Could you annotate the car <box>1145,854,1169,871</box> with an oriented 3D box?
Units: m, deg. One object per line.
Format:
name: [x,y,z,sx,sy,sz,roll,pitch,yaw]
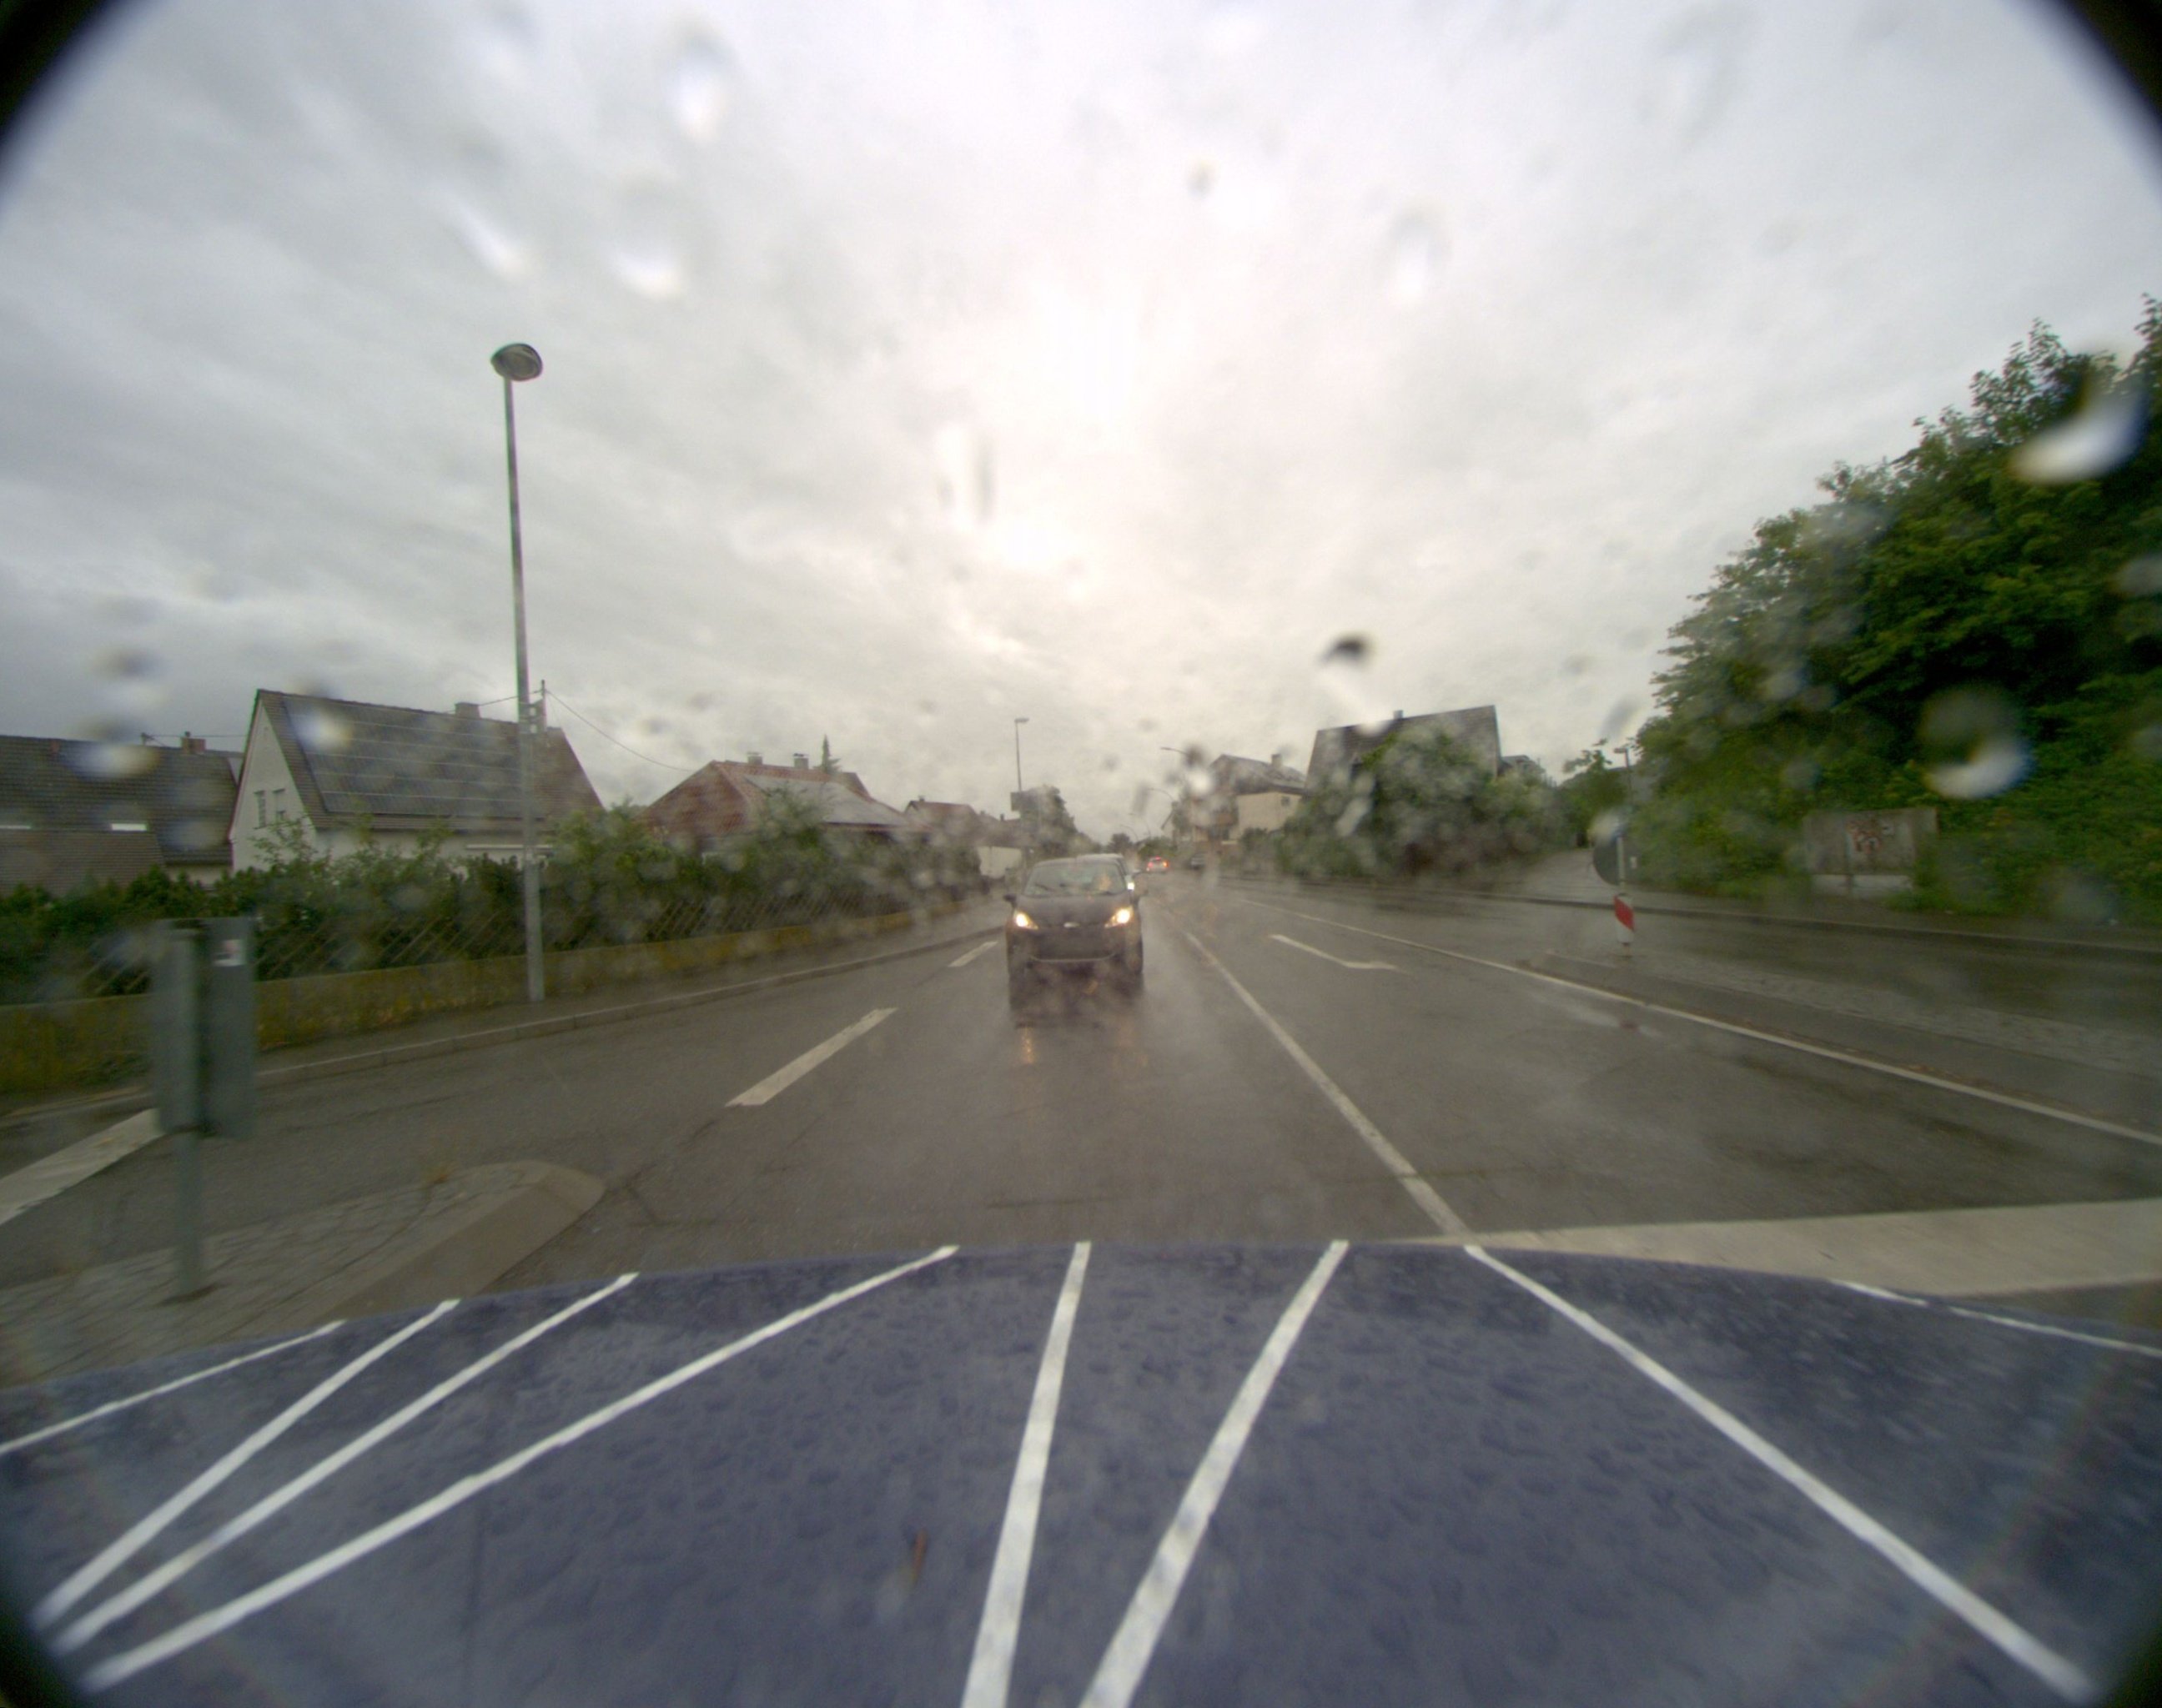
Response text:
car: [7.184,0.814,72.102,1.625,1.496,3.821,-1,0,-3]

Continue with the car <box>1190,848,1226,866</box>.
car: [12.280,0.237,73.335,1.661,1.538,4.007,-1,2,37]

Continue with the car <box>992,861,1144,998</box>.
car: [-0.102,0.873,10.588,1.665,1.410,3.932,-3,1,1]

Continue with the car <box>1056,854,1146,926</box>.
car: [0.447,0.781,18.459,1.898,1.474,4.000,-2,0,0]

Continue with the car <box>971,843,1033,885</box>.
car: [-4.721,0.578,45.928,1.650,2.337,4.007,-2,1,29]

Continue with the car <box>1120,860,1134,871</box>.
car: [7.406,1.863,122.130,1.669,1.496,4.320,-3,1,-4]
